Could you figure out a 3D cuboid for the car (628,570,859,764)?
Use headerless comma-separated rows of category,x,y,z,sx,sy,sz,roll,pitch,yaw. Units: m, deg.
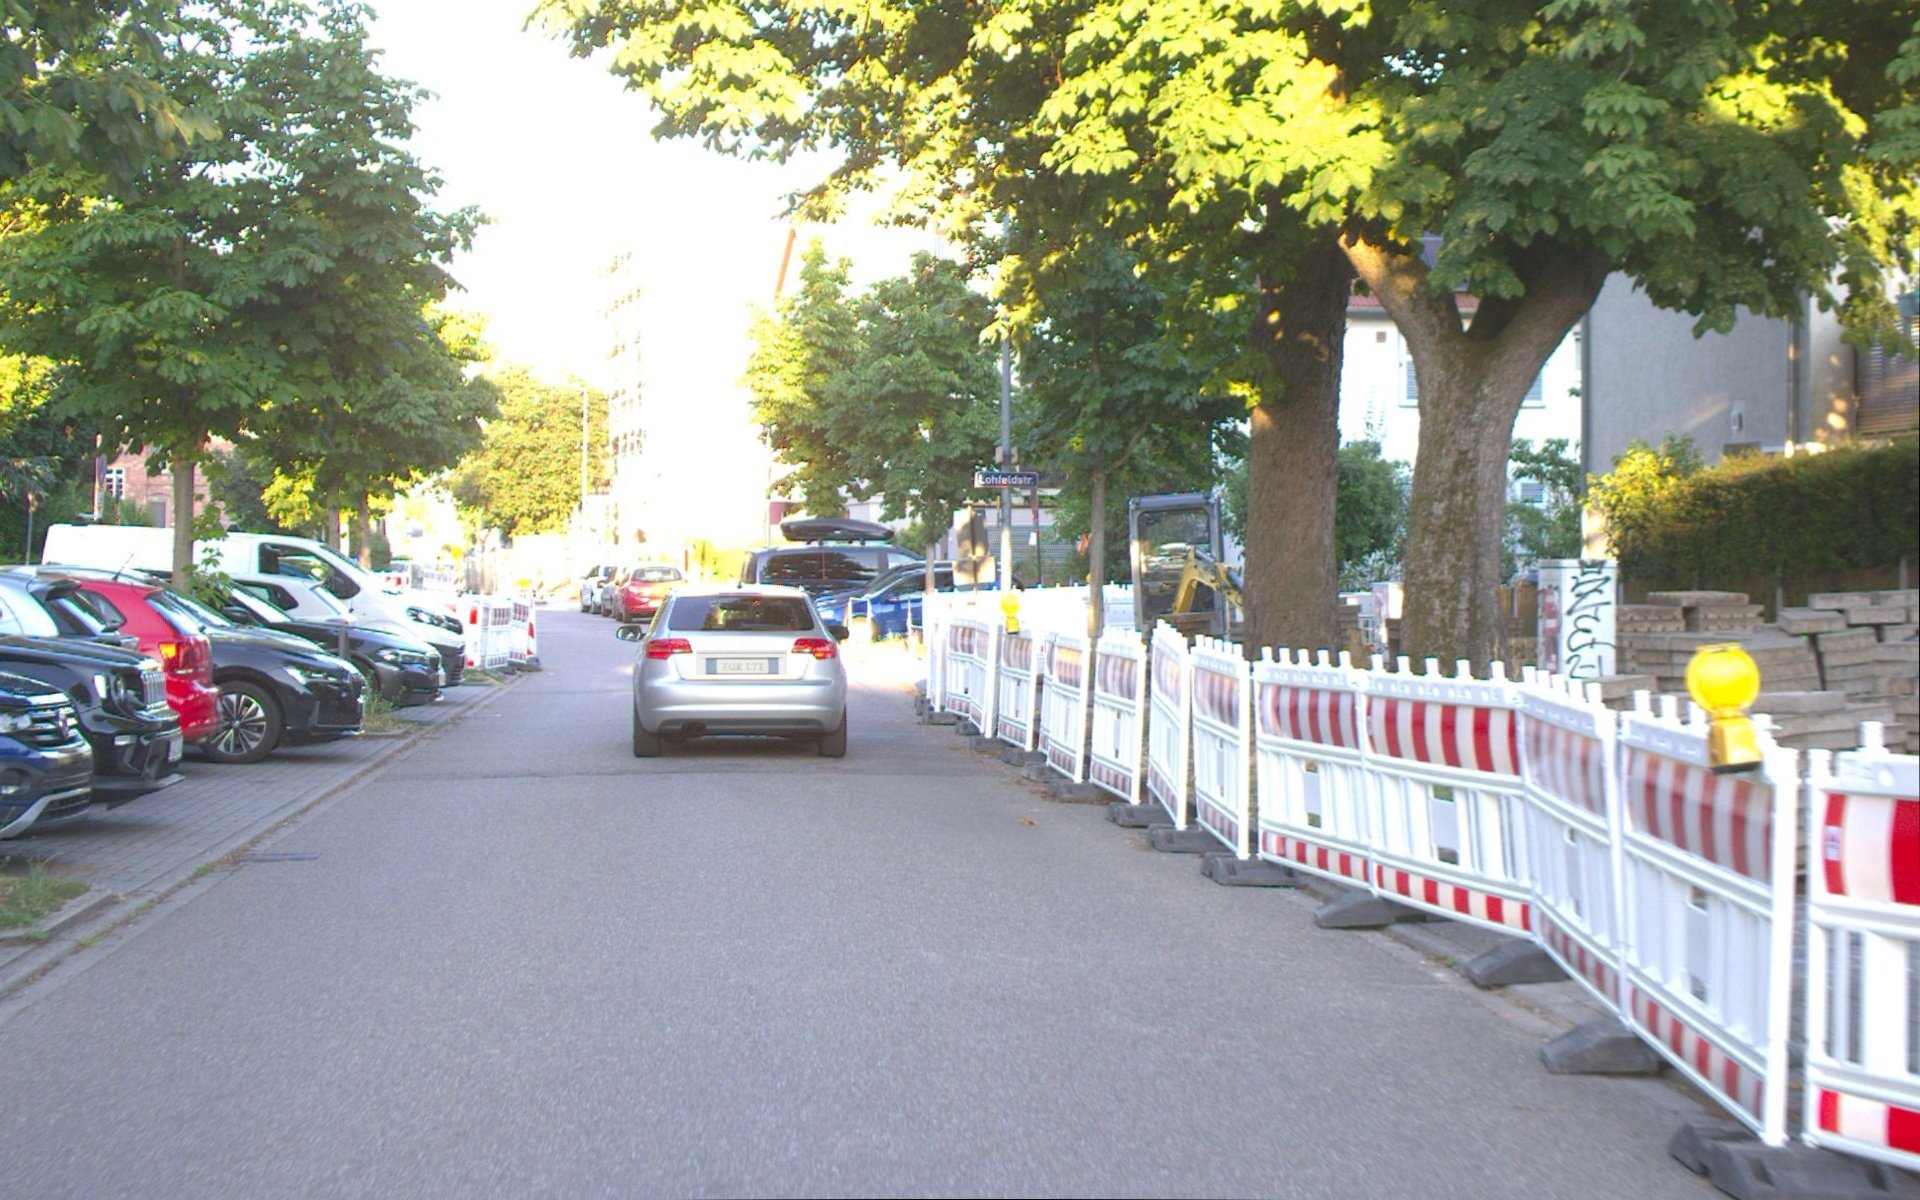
car,-1.865,0.510,29.184,1.807,1.483,4.001,0,1,-4

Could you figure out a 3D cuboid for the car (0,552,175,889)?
car,-6.054,0.544,17.196,3.860,1.589,1.786,1,1,-2

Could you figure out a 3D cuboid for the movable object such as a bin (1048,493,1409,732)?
movable object such as a bin,2.792,0.089,37.275,2.627,2.394,5.199,1,1,-10

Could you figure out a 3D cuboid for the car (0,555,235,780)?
car,-7.445,0.458,25.224,3.986,1.578,1.731,1,1,-6

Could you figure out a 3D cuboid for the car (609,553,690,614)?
car,-7.816,-0.423,86.224,1.729,1.478,3.558,1,1,-10

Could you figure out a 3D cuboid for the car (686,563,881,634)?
car,-4.059,-0.038,78.719,4.148,1.567,1.798,1,1,-16

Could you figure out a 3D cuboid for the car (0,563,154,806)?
car,-7.402,0.513,22.467,3.986,1.519,1.790,1,1,-7

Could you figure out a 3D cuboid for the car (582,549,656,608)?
car,-9.584,-0.614,96.452,1.808,1.607,3.582,1,1,-10

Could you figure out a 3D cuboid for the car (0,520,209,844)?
car,-6.437,0.417,19.733,3.860,1.771,1.843,1,1,-2

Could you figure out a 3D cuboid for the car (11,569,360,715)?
car,-8.294,0.437,37.045,3.414,1.478,1.759,1,1,-3

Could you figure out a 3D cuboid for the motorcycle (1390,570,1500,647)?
motorcycle,7.127,0.124,50.488,1.842,1.102,0.581,0,1,-44

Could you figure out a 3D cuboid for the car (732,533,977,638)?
car,-2.124,-0.300,68.829,4.555,2.016,2.102,1,1,-13

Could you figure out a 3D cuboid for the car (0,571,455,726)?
car,-7.511,0.471,34.328,4.771,1.465,1.881,1,0,-5

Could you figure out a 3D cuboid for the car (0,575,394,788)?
car,-6.788,0.627,27.551,4.405,1.609,1.900,1,1,-9

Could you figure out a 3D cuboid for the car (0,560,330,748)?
car,-7.577,0.448,30.104,3.986,1.573,1.802,1,1,-9

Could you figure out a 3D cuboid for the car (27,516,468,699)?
car,-8.126,0.076,39.581,4.771,2.007,2.000,1,1,-6

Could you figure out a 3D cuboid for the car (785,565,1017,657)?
car,-1.112,0.203,64.032,3.986,1.645,1.765,1,1,-16
